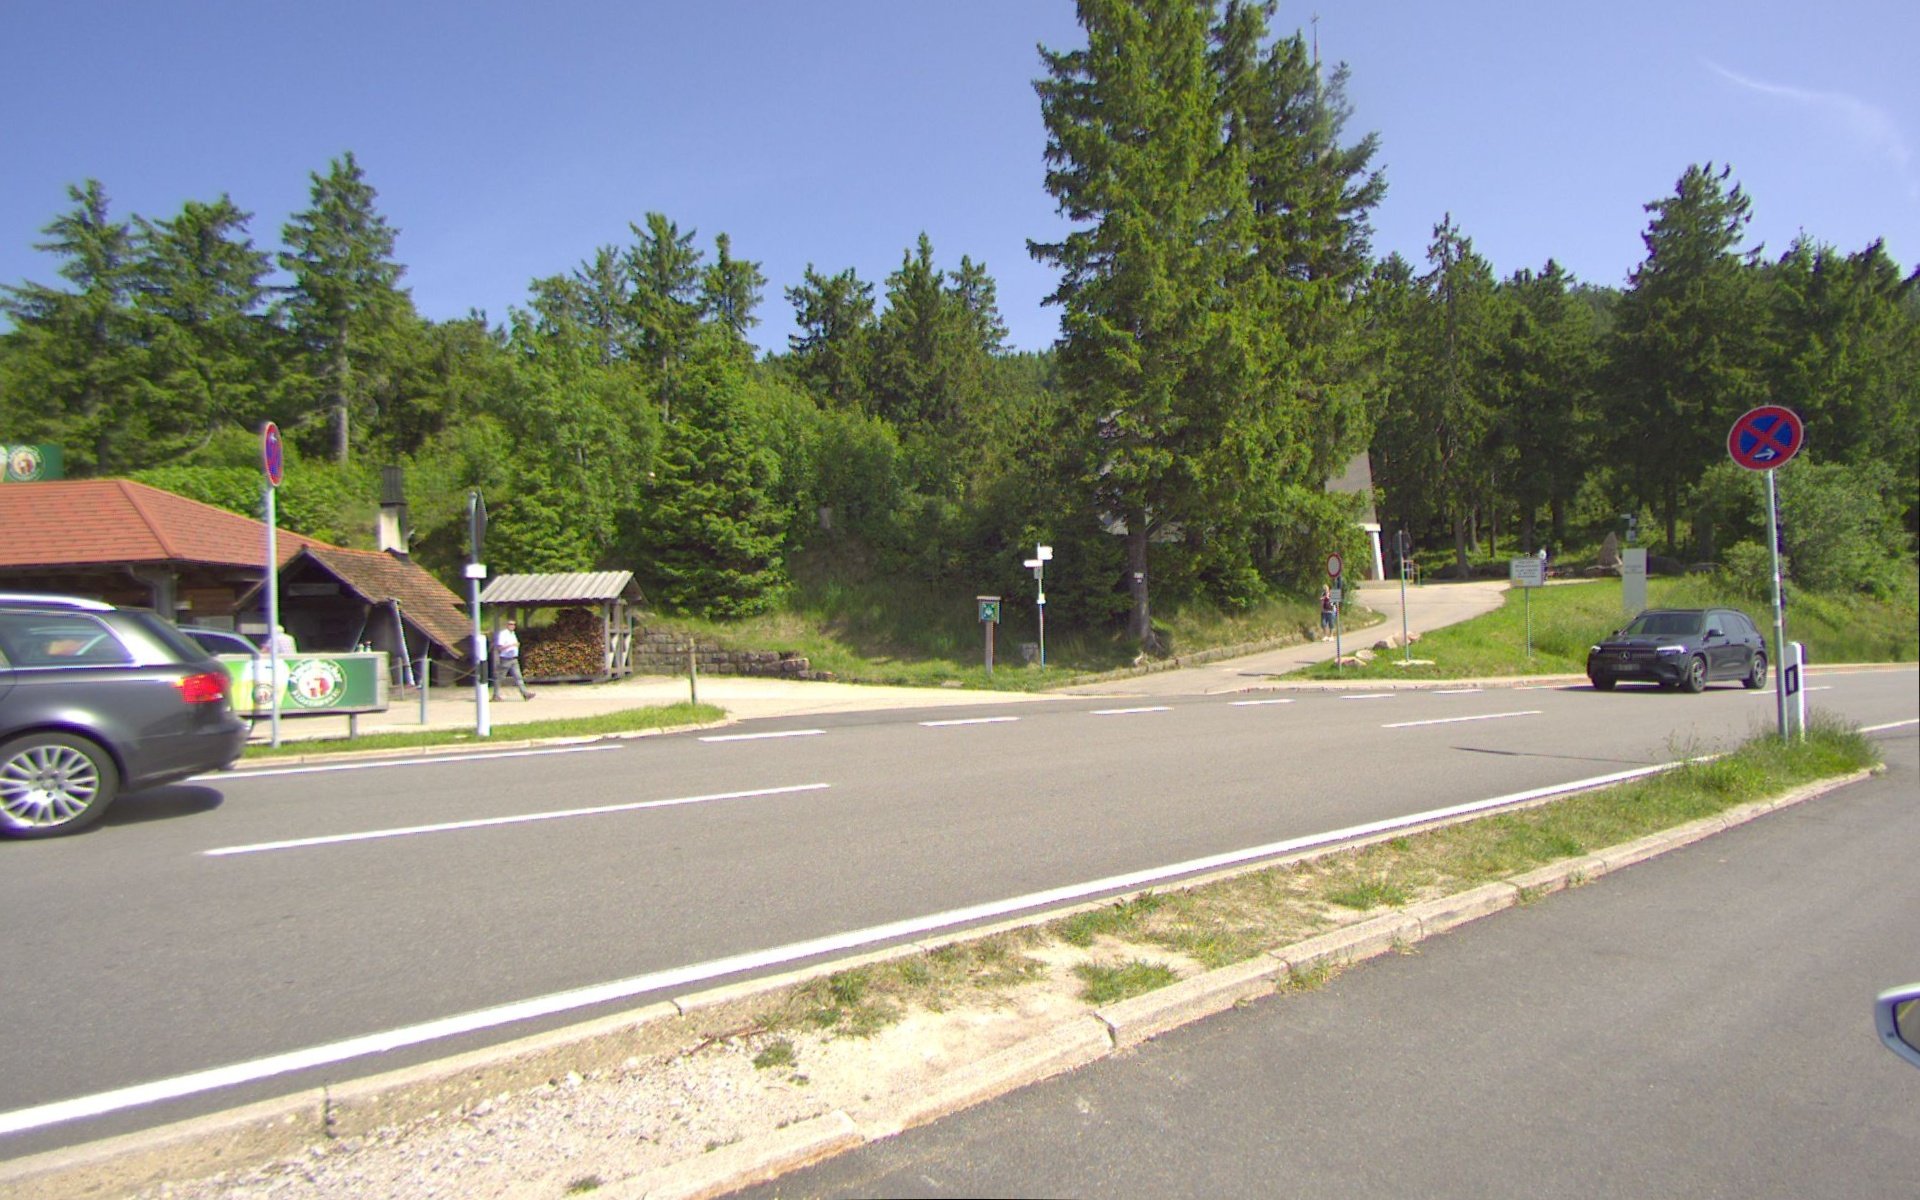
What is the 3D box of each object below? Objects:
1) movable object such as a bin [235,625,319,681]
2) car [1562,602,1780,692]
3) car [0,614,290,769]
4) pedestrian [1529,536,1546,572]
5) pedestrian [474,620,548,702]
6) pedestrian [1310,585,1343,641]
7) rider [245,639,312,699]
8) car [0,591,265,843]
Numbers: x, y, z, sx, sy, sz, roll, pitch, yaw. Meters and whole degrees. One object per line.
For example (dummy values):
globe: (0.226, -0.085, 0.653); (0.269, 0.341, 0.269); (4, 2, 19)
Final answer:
movable object such as a bin: (-15.132, 1.167, 22.277); (1.192, 1.204, 0.984); (-1, -1, 14)
car: (14.614, 0.916, 20.597); (4.514, 1.669, 1.984); (1, -2, -31)
car: (-9.680, 0.920, 10.791); (1.687, 1.449, 4.506); (-1, -2, 5)
pedestrian: (31.863, -2.523, 55.433); (0.531, 1.902, 0.683); (0, -1, 0)
pedestrian: (-9.763, 1.317, 21.885); (1.139, 1.721, 0.980); (-1, -2, 6)
pedestrian: (11.341, 0.416, 31.056); (0.678, 1.703, 0.712); (1, -2, -44)
rider: (-15.073, 1.513, 22.240); (0.891, 1.291, 0.840); (-1, -1, 14)
car: (-6.804, 0.688, 5.890); (4.410, 1.457, 1.693); (1, -2, -38)
